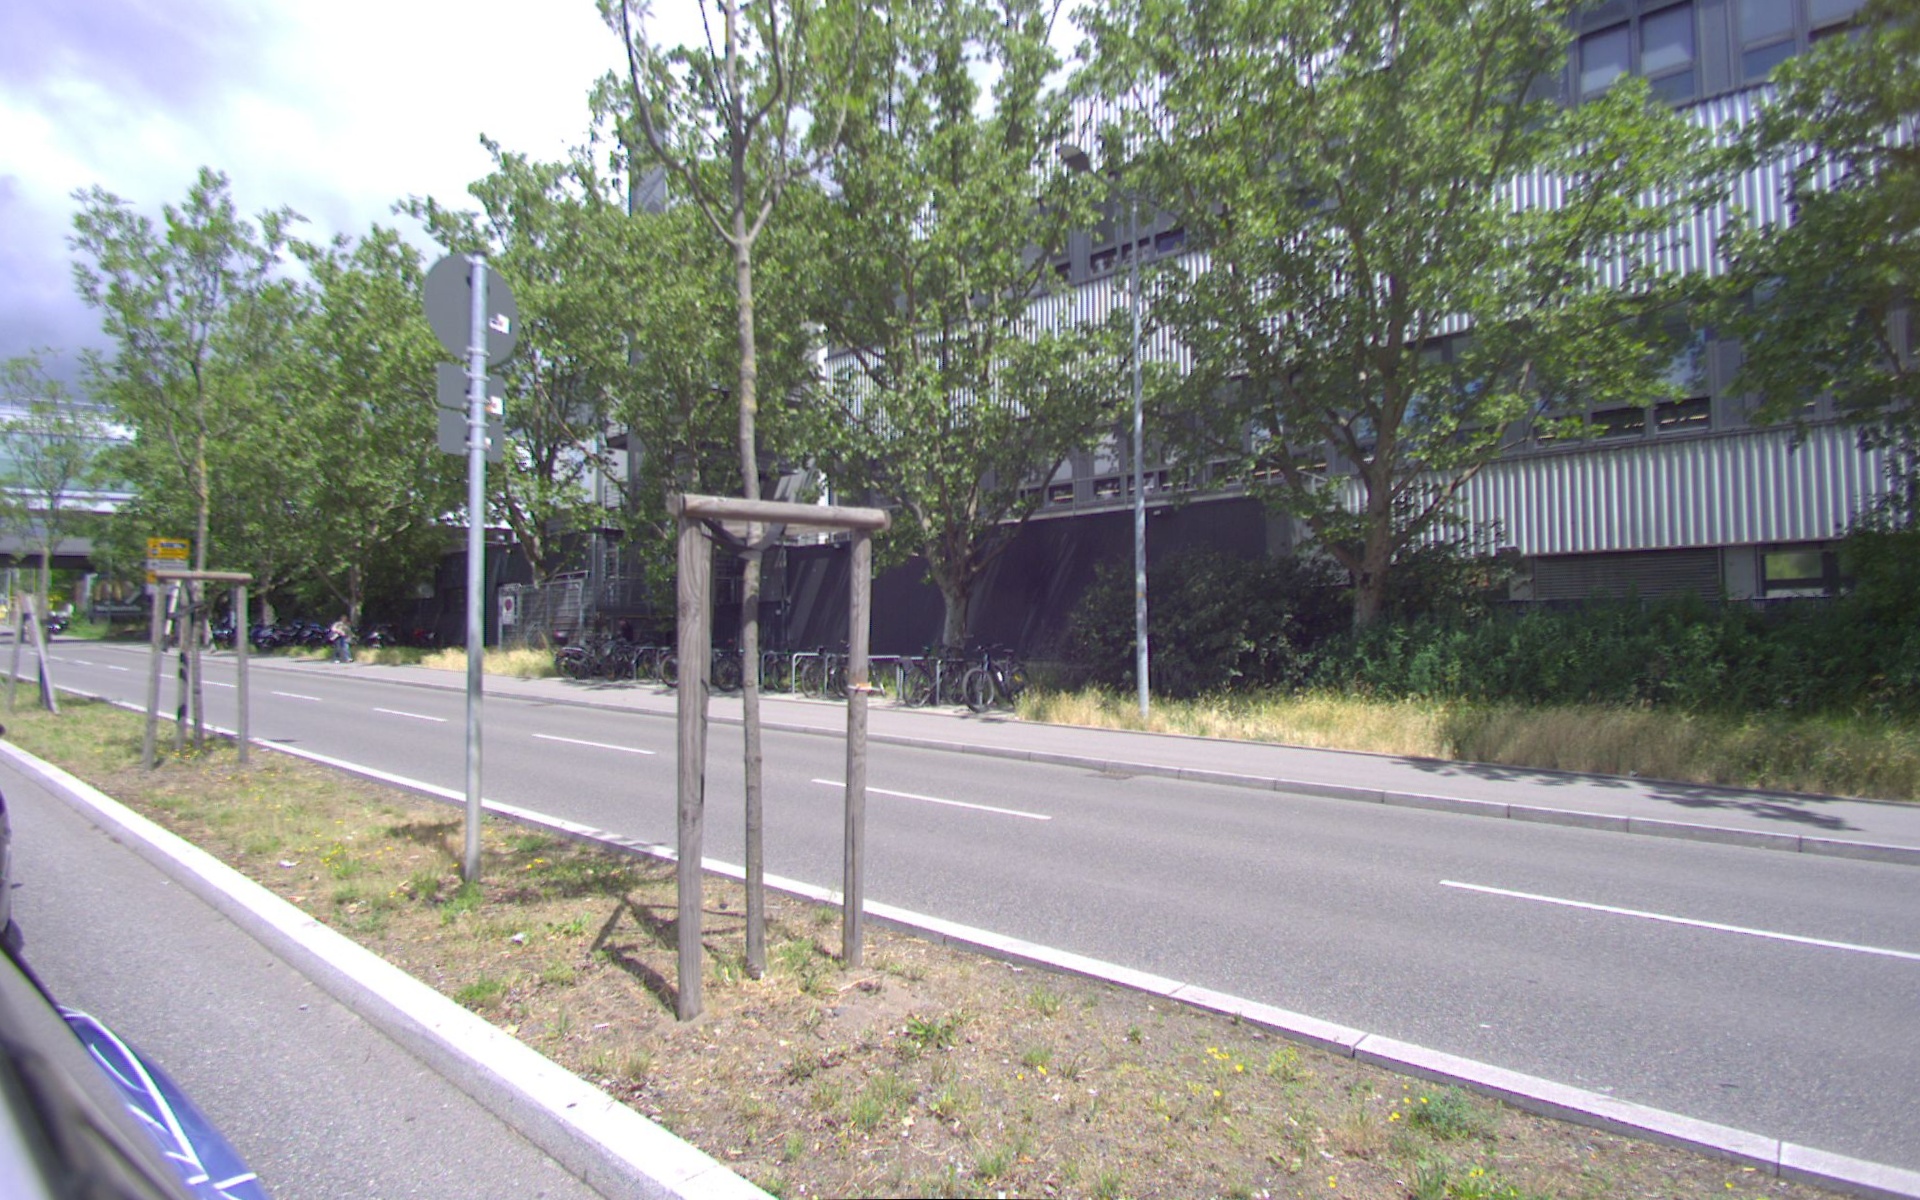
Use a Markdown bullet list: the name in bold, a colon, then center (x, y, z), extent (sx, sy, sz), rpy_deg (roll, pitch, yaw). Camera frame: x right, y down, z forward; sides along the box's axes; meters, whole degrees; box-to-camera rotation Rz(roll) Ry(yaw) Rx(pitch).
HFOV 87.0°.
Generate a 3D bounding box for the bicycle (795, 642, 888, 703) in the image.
- **bicycle**: center (-2.338, 1.430, 20.223), extent (0.382, 1.104, 2.101), rpy_deg (-2, -1, 43)

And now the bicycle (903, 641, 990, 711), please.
- **bicycle**: center (-0.217, 1.331, 18.115), extent (0.381, 1.137, 1.968), rpy_deg (-2, -1, 39)

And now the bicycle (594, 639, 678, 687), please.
- **bicycle**: center (-8.159, 1.561, 25.531), extent (0.382, 1.119, 2.101), rpy_deg (-2, -1, 43)

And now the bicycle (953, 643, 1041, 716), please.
- **bicycle**: center (0.662, 1.334, 17.392), extent (0.381, 1.137, 1.968), rpy_deg (-2, -1, 39)

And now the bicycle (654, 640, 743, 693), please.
- **bicycle**: center (-5.988, 1.495, 23.258), extent (0.382, 1.119, 2.101), rpy_deg (-2, -1, 43)

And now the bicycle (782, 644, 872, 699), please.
- **bicycle**: center (-2.742, 1.474, 21.131), extent (0.382, 1.038, 2.101), rpy_deg (-2, -1, 43)

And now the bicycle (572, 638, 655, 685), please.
- **bicycle**: center (-8.903, 1.565, 26.080), extent (0.382, 1.119, 2.101), rpy_deg (-2, -1, 43)

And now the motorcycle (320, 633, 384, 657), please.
- **motorcycle**: center (-23.955, 1.764, 39.907), extent (0.534, 0.905, 2.105), rpy_deg (-2, -1, 41)

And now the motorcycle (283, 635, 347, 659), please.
- **motorcycle**: center (-25.970, 1.870, 40.777), extent (0.534, 0.892, 2.105), rpy_deg (-2, -1, 41)

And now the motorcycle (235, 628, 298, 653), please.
- **motorcycle**: center (-28.906, 1.689, 42.234), extent (0.534, 0.976, 2.105), rpy_deg (-2, -1, 41)

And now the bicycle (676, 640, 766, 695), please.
- **bicycle**: center (-5.332, 1.483, 22.662), extent (0.382, 1.119, 2.101), rpy_deg (-2, -1, 43)

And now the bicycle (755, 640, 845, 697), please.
- **bicycle**: center (-3.410, 1.451, 21.745), extent (0.382, 1.119, 2.101), rpy_deg (-2, -1, 43)

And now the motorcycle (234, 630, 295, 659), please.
- **motorcycle**: center (-29.746, 1.898, 43.329), extent (0.534, 1.146, 2.105), rpy_deg (-2, -1, 41)

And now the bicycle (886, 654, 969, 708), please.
- **bicycle**: center (-0.595, 1.516, 19.216), extent (0.381, 0.897, 1.968), rpy_deg (-2, -1, 39)

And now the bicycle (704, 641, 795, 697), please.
- **bicycle**: center (-4.541, 1.474, 22.011), extent (0.382, 1.119, 2.101), rpy_deg (-2, -1, 43)

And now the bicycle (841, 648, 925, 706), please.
- **bicycle**: center (-1.467, 1.472, 19.701), extent (0.381, 1.005, 1.968), rpy_deg (-2, -1, 39)

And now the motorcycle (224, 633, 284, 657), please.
- **motorcycle**: center (-31.310, 1.989, 44.893), extent (0.534, 0.976, 2.105), rpy_deg (-2, -1, 41)

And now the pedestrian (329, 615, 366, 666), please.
- **pedestrian**: center (-20.917, 1.379, 34.555), extent (0.672, 1.734, 0.888), rpy_deg (-2, -2, 41)

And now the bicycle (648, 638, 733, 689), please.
- **bicycle**: center (-6.479, 1.506, 24.408), extent (0.382, 1.119, 2.101), rpy_deg (-2, -1, 43)

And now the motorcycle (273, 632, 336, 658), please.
- **motorcycle**: center (-26.821, 1.828, 41.458), extent (0.534, 0.976, 2.105), rpy_deg (-2, -1, 41)

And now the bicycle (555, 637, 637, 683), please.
- **bicycle**: center (-9.545, 1.546, 26.625), extent (0.382, 1.119, 2.101), rpy_deg (-2, -1, 43)
